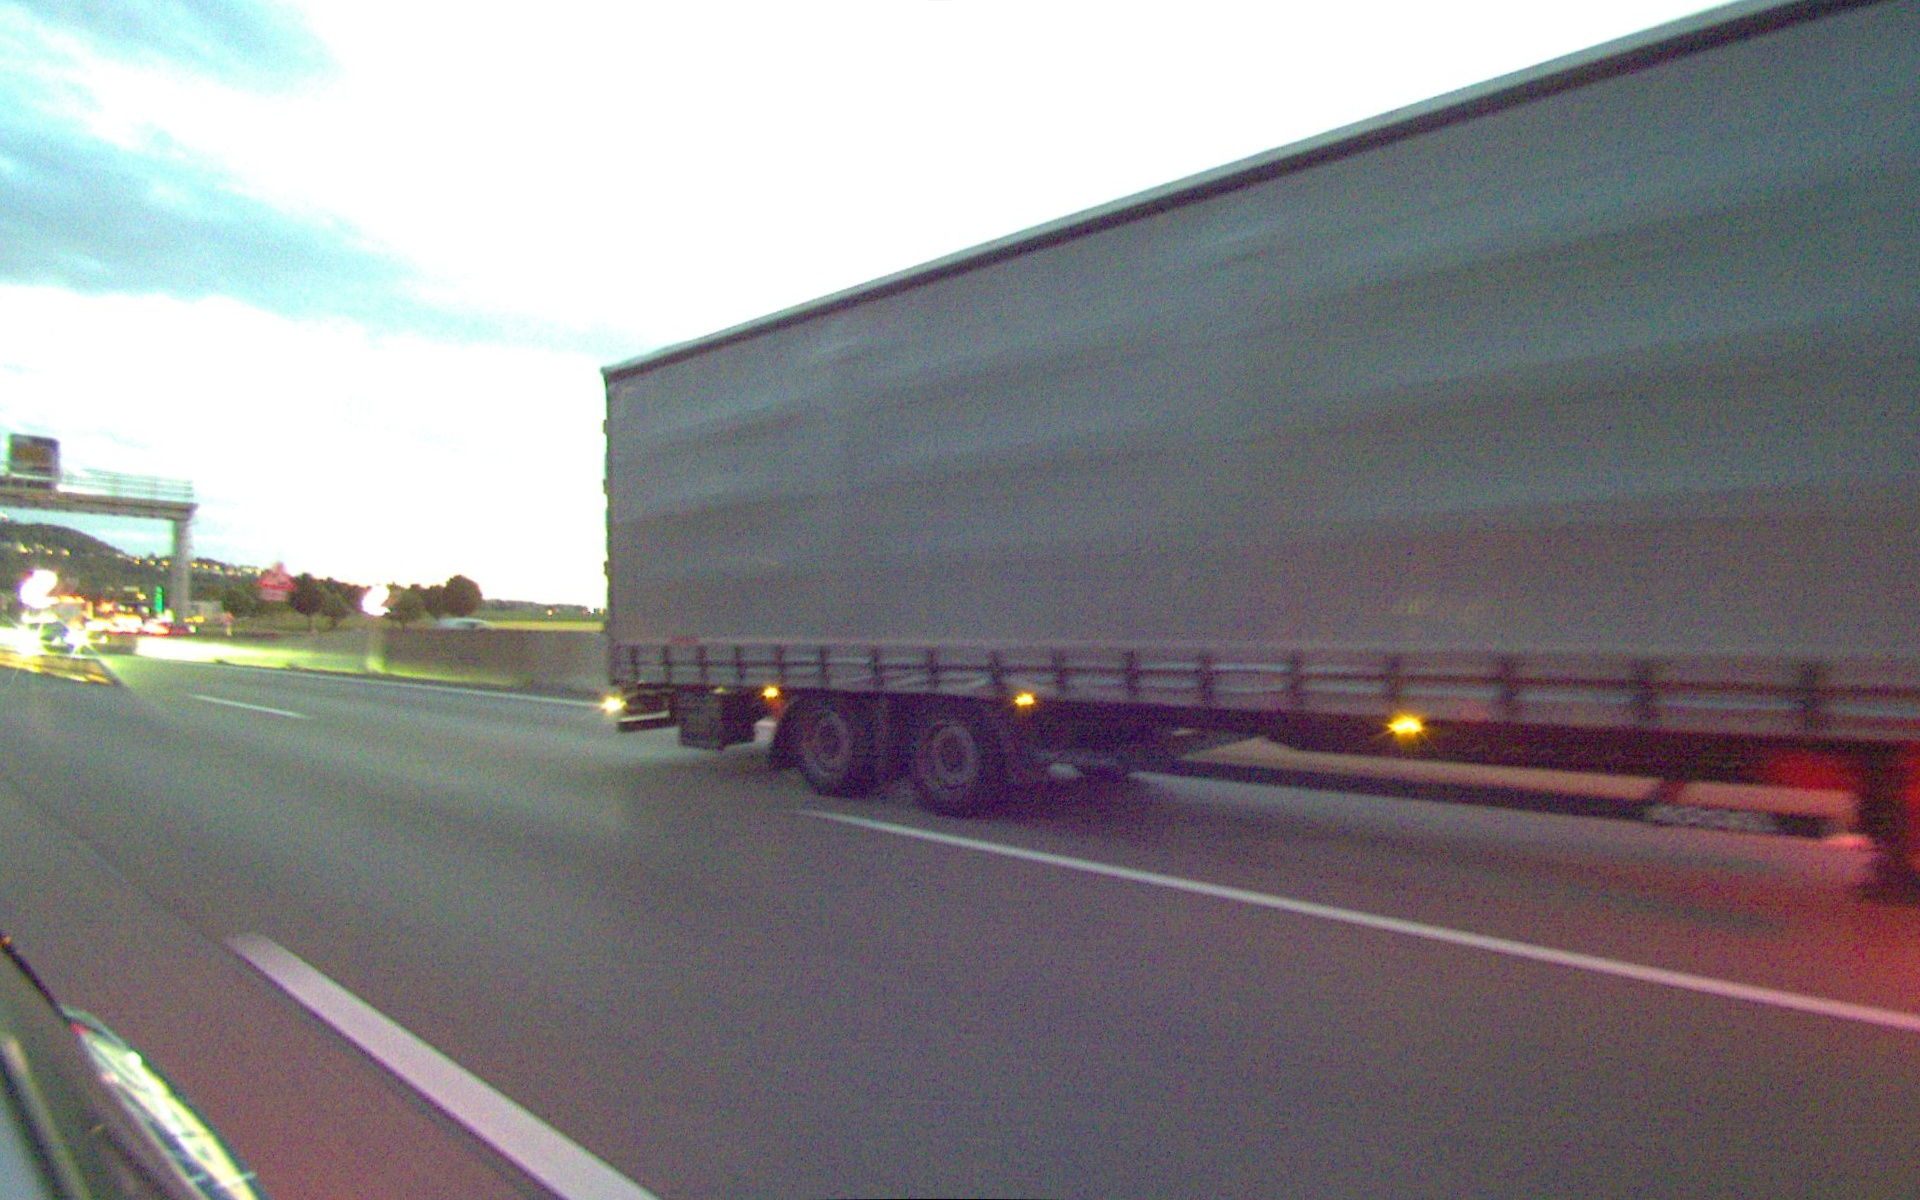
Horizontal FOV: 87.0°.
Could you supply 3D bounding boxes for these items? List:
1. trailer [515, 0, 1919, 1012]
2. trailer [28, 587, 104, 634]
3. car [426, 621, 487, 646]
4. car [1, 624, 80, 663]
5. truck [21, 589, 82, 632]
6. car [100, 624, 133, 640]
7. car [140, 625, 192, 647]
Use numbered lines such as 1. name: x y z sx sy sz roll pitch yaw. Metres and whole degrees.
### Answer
1. trailer: 1.557 -0.521 7.187 14.519 4.116 2.765 -1 -1 41
2. trailer: -118.875 1.356 134.366 19.204 5.829 5.249 -1 0 41
3. car: -25.496 1.679 51.186 3.608 1.200 1.520 -1 0 41
4. car: -38.718 1.782 42.578 5.391 1.448 1.796 -1 0 40
5. truck: -127.086 1.483 141.591 9.640 5.834 5.263 -1 0 41
6. car: -76.095 2.878 91.296 3.998 1.298 1.714 -1 0 41
7. car: -49.510 2.231 63.070 3.998 1.213 1.843 -1 0 41
